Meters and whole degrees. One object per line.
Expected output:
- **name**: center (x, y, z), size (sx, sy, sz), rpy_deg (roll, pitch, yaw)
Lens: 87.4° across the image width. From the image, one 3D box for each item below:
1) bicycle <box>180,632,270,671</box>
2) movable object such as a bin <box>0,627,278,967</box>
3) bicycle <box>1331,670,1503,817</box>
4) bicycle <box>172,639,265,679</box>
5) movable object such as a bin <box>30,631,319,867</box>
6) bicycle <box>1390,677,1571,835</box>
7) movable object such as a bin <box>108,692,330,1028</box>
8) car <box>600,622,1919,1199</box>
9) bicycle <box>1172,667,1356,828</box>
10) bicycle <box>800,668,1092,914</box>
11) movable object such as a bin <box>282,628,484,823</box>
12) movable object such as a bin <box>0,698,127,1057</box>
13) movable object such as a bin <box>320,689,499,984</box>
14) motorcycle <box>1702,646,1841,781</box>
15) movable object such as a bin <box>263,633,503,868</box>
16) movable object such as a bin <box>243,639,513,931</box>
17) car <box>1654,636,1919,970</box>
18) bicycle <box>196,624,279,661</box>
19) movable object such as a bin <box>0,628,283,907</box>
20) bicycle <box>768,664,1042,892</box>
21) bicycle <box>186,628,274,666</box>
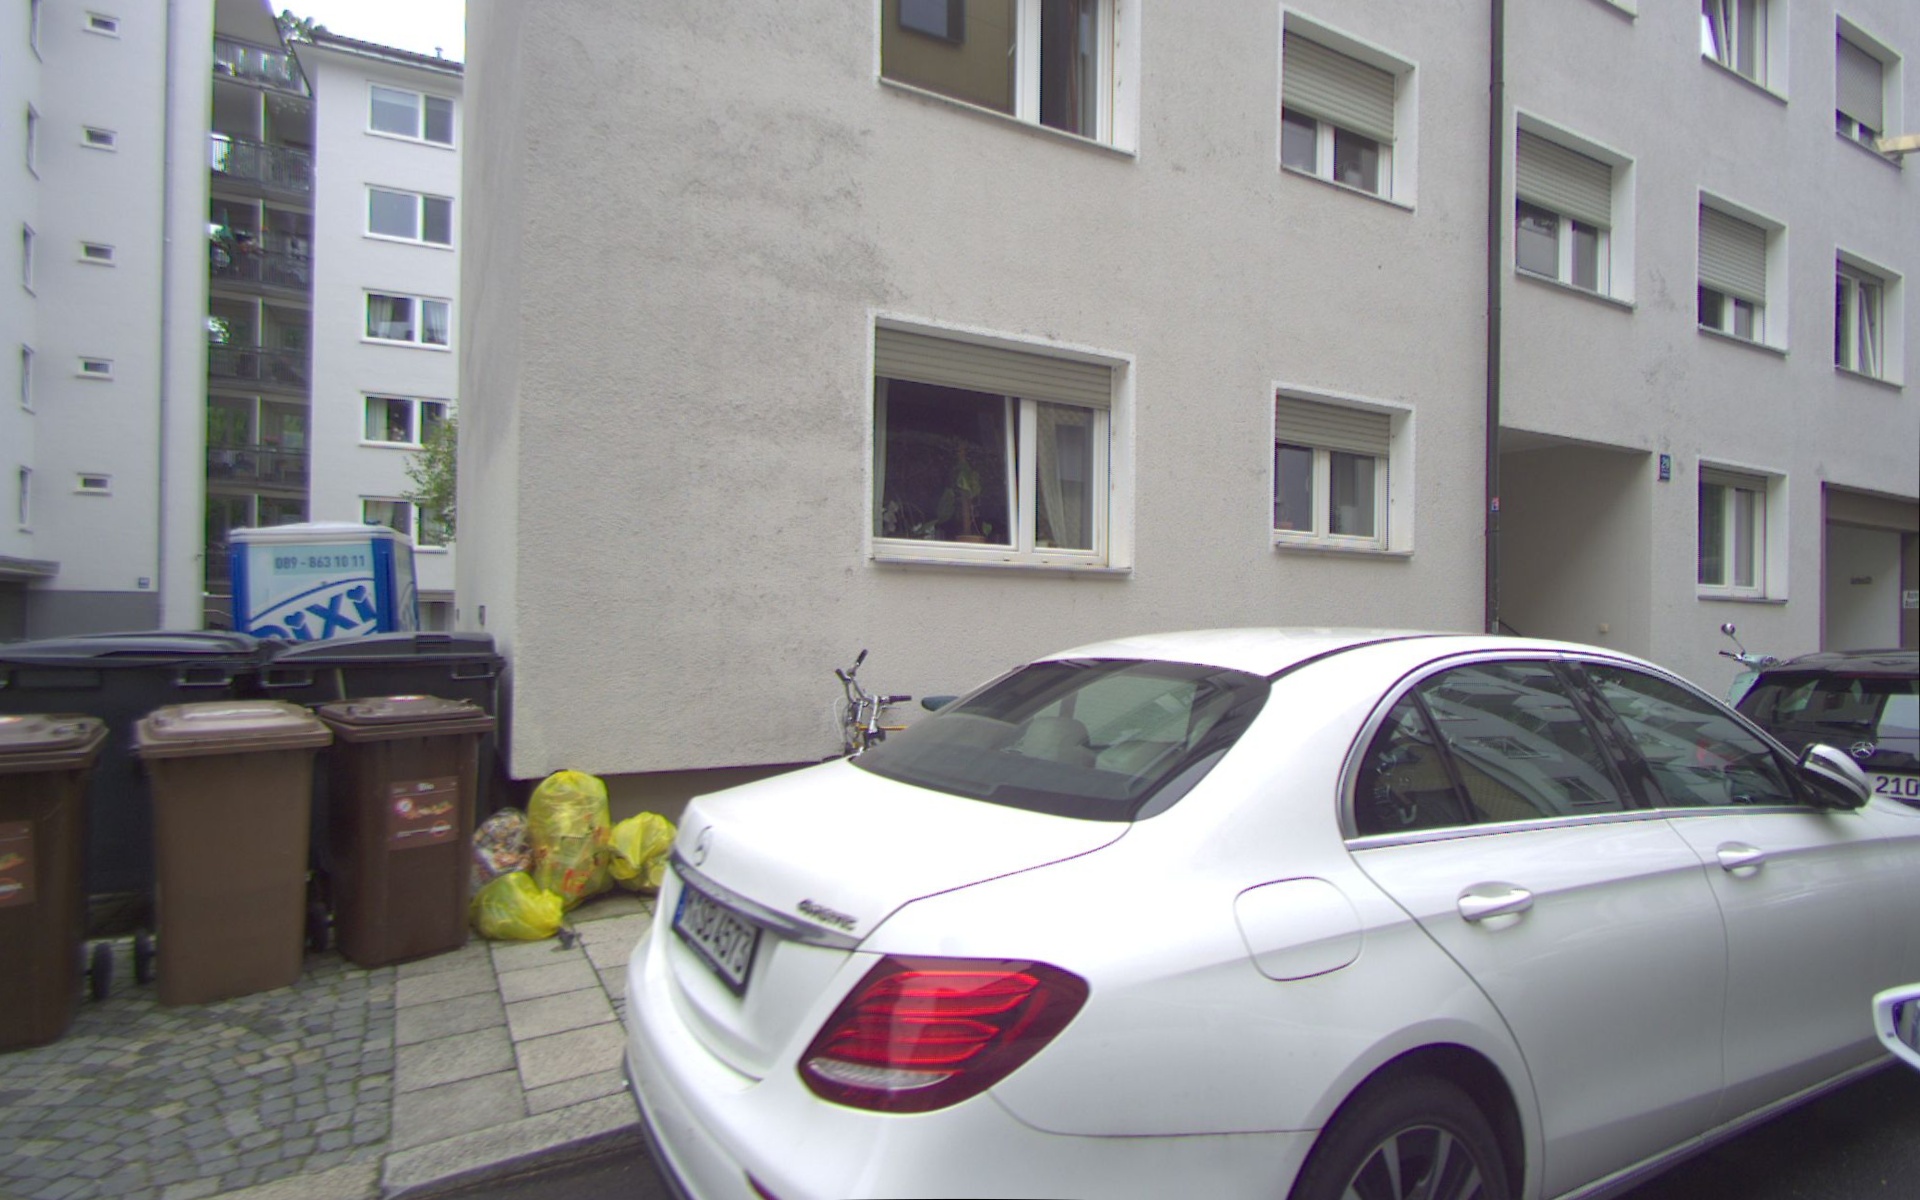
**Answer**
- **bicycle**: center (-20.631, 1.438, 28.255), size (1.969, 1.074, 0.601), rpy_deg (1, -1, -31)
- **movable object such as a bin**: center (-3.956, 0.827, 4.730), size (1.090, 1.371, 1.106), rpy_deg (1, -1, -29)
- **bicycle**: center (3.587, 1.076, 7.843), size (1.556, 1.030, 0.396), rpy_deg (1, -2, -30)
- **bicycle**: center (-20.256, 1.601, 27.493), size (1.969, 1.074, 0.601), rpy_deg (1, -1, -31)
- **movable object such as a bin**: center (-5.291, 0.925, 6.938), size (1.332, 1.392, 1.330), rpy_deg (1, -1, -29)
- **bicycle**: center (3.871, 1.108, 7.433), size (1.605, 1.030, 0.386), rpy_deg (1, -2, -30)
- **movable object such as a bin**: center (-2.888, 0.941, 3.964), size (0.629, 1.090, 0.763), rpy_deg (2, -1, -35)
- **car**: center (1.499, 0.840, 3.254), size (4.753, 1.456, 1.903), rpy_deg (2, -1, -31)
- **bicycle**: center (2.185, 1.010, 7.161), size (1.424, 1.030, 0.377), rpy_deg (1, -2, -29)
- **bicycle**: center (-0.030, 0.974, 5.544), size (1.667, 1.154, 0.401), rpy_deg (2, -1, -35)
- **movable object such as a bin**: center (-4.238, 0.860, 7.462), size (1.186, 1.280, 1.116), rpy_deg (1, -1, -29)
- **movable object such as a bin**: center (-3.378, 0.922, 3.476), size (0.671, 1.090, 0.763), rpy_deg (2, -1, -35)
- **movable object such as a bin**: center (-2.414, 0.965, 4.384), size (0.598, 1.090, 0.686), rpy_deg (2, -1, -35)
- **motorcycle**: center (8.110, 1.076, 10.013), size (1.840, 1.219, 0.595), rpy_deg (2, -1, -35)
- **movable object such as a bin**: center (-3.590, 0.862, 6.342), size (1.186, 1.280, 1.116), rpy_deg (1, -1, -29)
- **movable object such as a bin**: center (-2.984, 0.858, 5.250), size (1.083, 1.280, 1.116), rpy_deg (1, -1, -29)
- **car**: center (5.881, 0.950, 5.637), size (4.180, 1.435, 1.791), rpy_deg (2, -1, -32)
- **bicycle**: center (-21.730, 1.280, 30.257), size (1.969, 1.074, 0.601), rpy_deg (1, -1, -31)
- **movable object such as a bin**: center (-4.668, 0.871, 5.786), size (1.139, 1.392, 1.085), rpy_deg (1, -1, -29)
- **bicycle**: center (-0.274, 0.971, 5.875), size (1.667, 1.154, 0.339), rpy_deg (2, -1, -35)
- **bicycle**: center (-20.954, 1.344, 28.865), size (1.969, 1.074, 0.601), rpy_deg (1, -1, -31)
